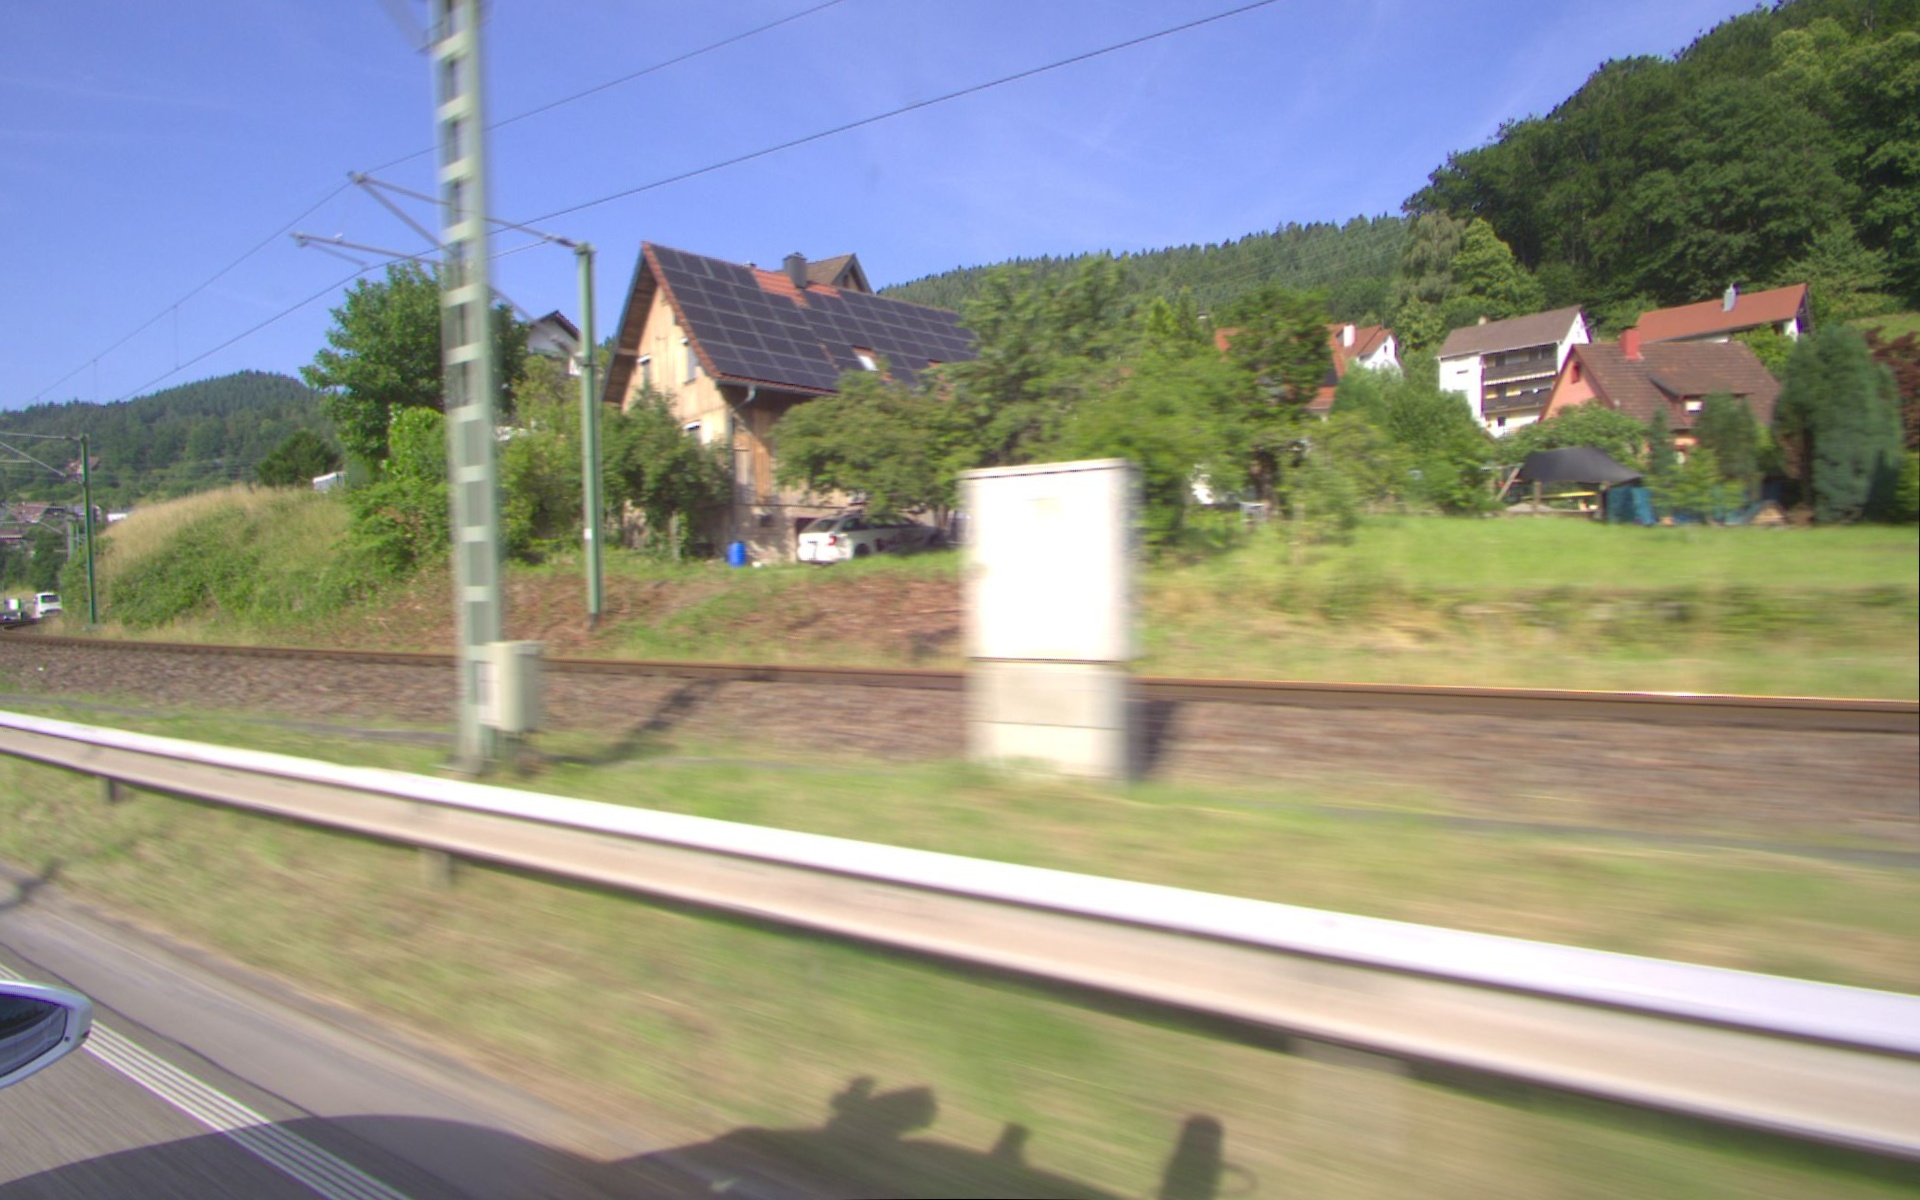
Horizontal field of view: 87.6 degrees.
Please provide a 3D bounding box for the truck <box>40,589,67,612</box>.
[{"bbox_3d":[-129.349,0.040,142.873,2.694,3.124,6.048,1,-1,-44],"label":"truck"}]

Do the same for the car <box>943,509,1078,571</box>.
[{"bbox_3d":[1.694,-1.863,32.334,4.425,1.604,1.761,1,-2,-42],"label":"car"}]

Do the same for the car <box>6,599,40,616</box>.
[{"bbox_3d":[-89.585,0.695,95.760,1.830,1.547,3.638,-1,1,-34],"label":"car"}]

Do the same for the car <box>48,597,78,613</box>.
[{"bbox_3d":[-106.320,0.620,118.746,2.042,1.835,3.974,-1,1,-33],"label":"car"}]

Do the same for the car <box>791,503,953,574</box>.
[{"bbox_3d":[-2.426,-1.670,28.378,4.425,1.604,1.761,1,-2,-42],"label":"car"}]
